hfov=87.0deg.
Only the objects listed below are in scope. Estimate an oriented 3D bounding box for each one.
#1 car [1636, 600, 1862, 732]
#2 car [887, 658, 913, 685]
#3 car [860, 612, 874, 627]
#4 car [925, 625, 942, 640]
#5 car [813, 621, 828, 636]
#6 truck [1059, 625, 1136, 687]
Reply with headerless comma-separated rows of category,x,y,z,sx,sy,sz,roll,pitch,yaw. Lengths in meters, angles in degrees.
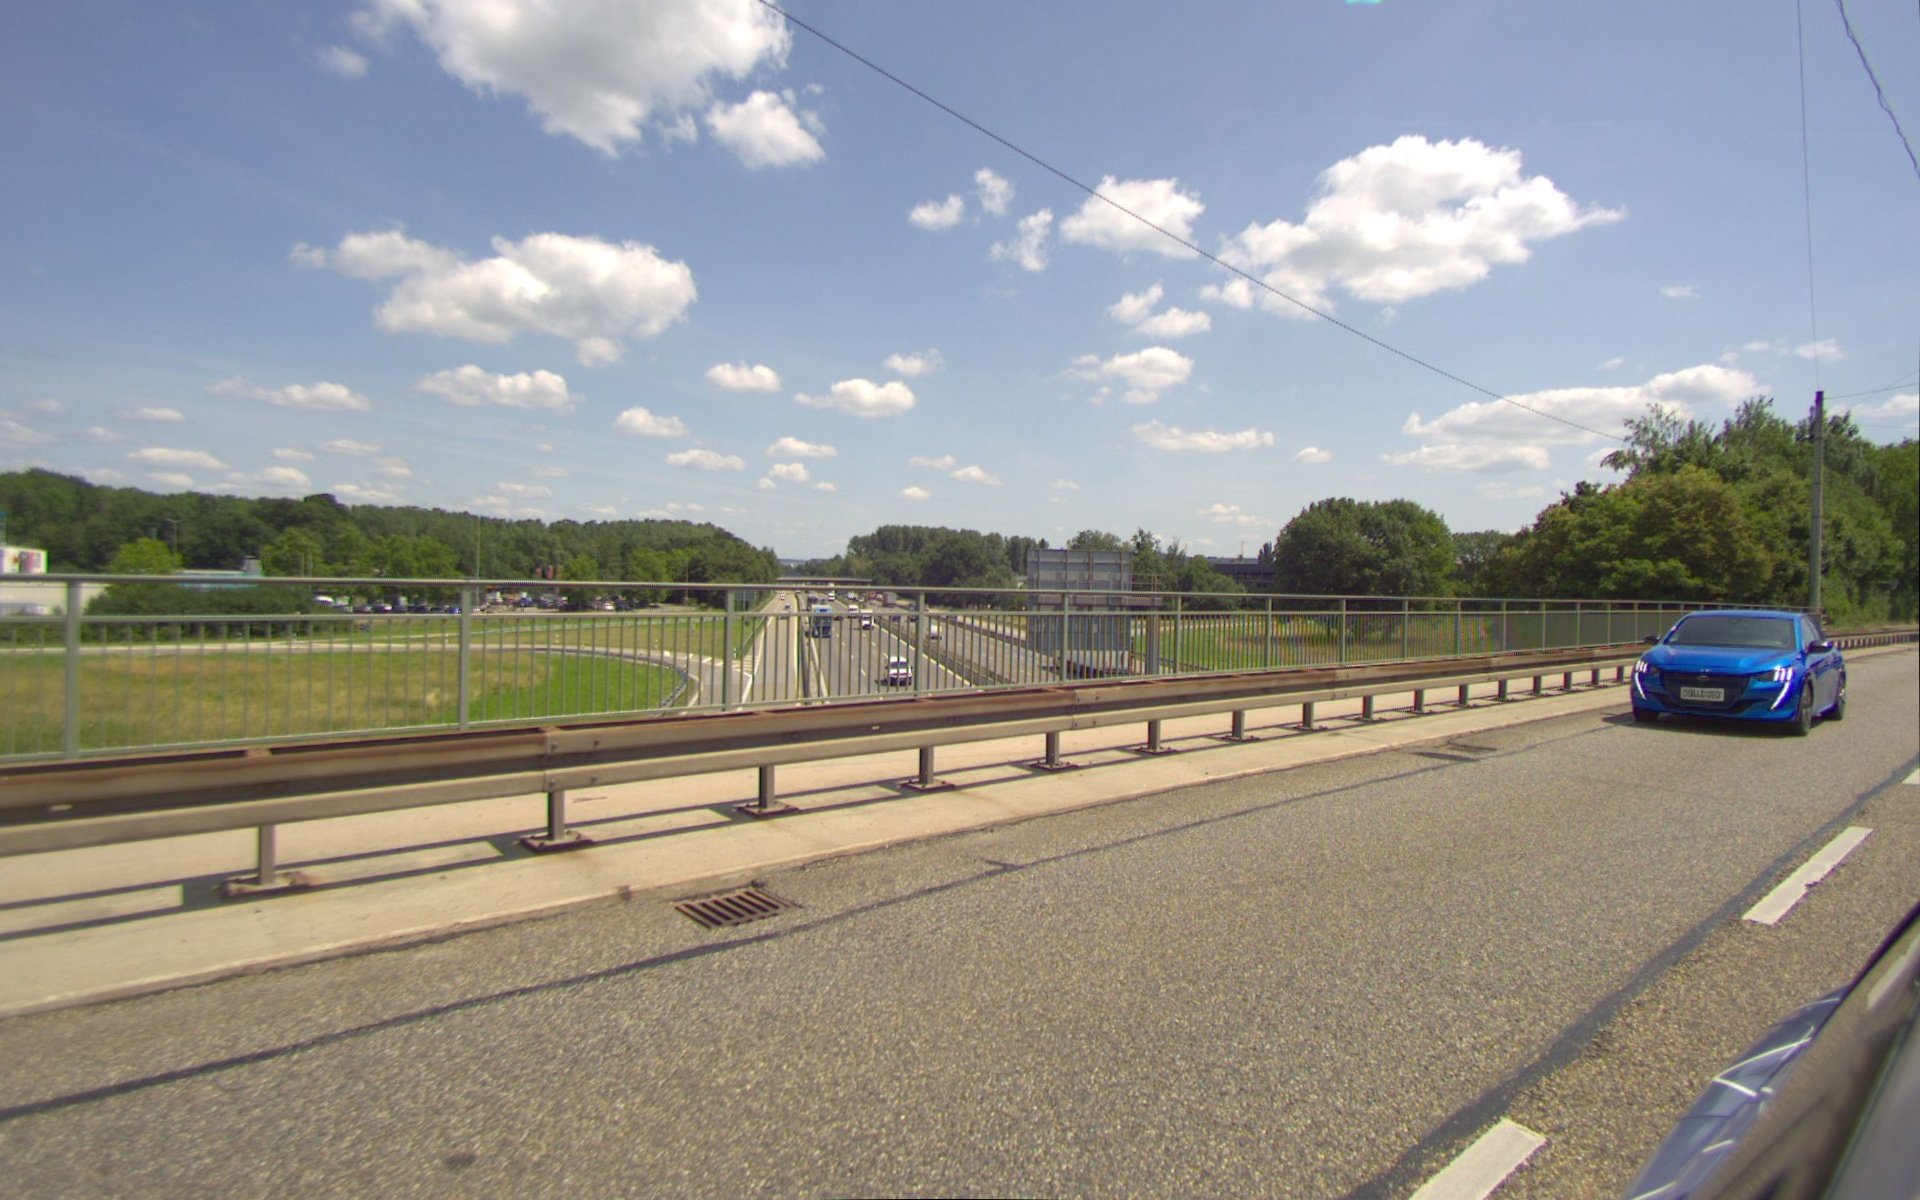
car,10.146,0.719,12.929,3.679,1.423,1.658,0,0,-42
car,-4.730,5.590,79.529,1.597,1.951,4.004,-2,-3,-9
car,-14.588,3.102,158.613,1.921,2.184,4.004,-2,-3,-9
car,-3.624,4.403,138.532,1.780,1.883,4.007,0,0,-10
car,-19.094,3.898,138.639,1.921,1.951,4.004,-2,-3,-9
truck,12.028,4.804,90.513,2.774,4.271,14.813,-1,2,-8
